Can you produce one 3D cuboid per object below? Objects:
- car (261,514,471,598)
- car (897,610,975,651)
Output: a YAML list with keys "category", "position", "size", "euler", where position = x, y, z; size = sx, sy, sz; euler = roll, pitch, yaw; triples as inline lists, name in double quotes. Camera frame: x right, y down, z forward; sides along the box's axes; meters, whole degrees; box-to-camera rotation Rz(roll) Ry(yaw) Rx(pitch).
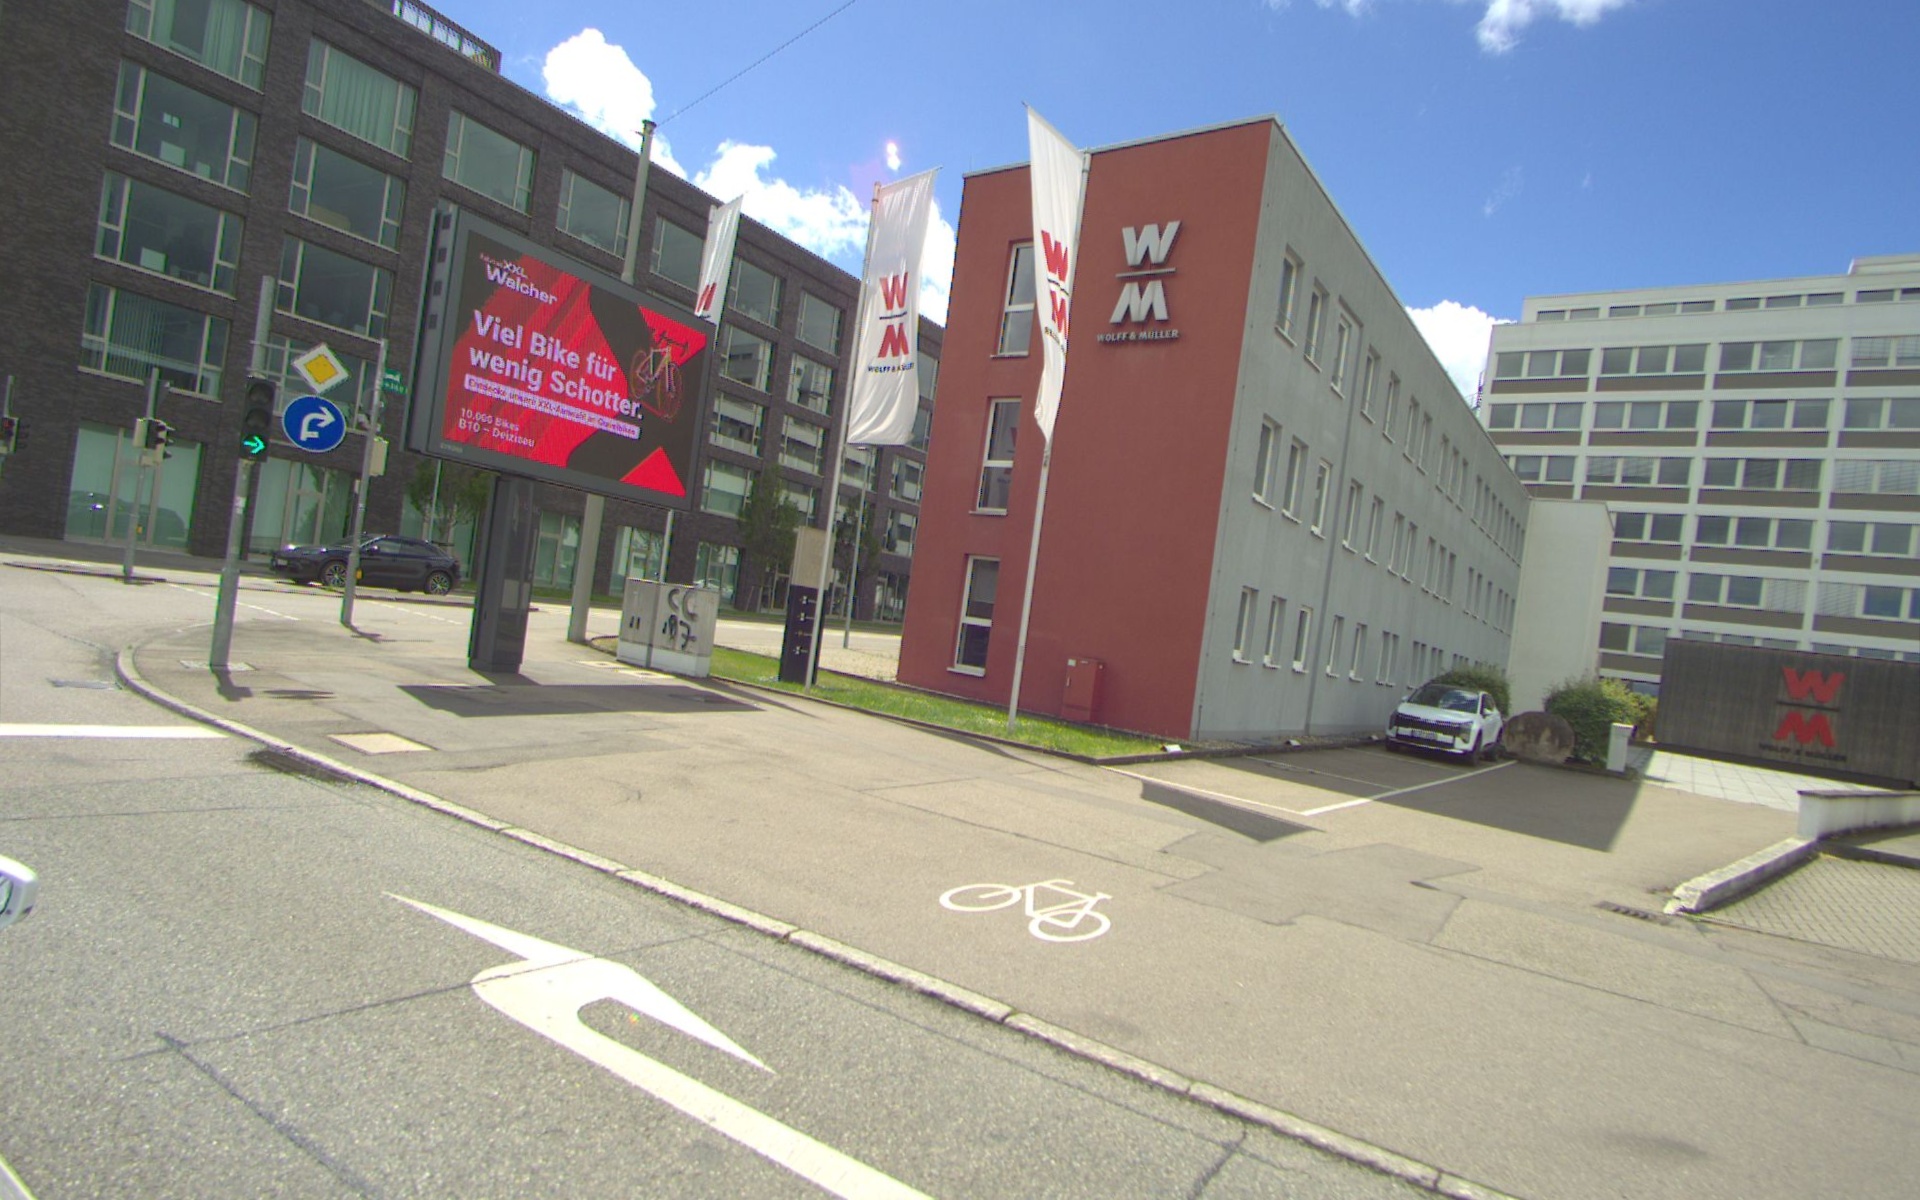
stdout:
- category: "car"
  position: [-16.658, -1.179, 28.493]
  size: [1.966, 1.638, 4.648]
  euler: [7, -1, 30]
- category: "car"
  position: [-0.935, 1.271, 41.443]
  size: [1.716, 1.478, 3.677]
  euler: [1, -3, 26]
